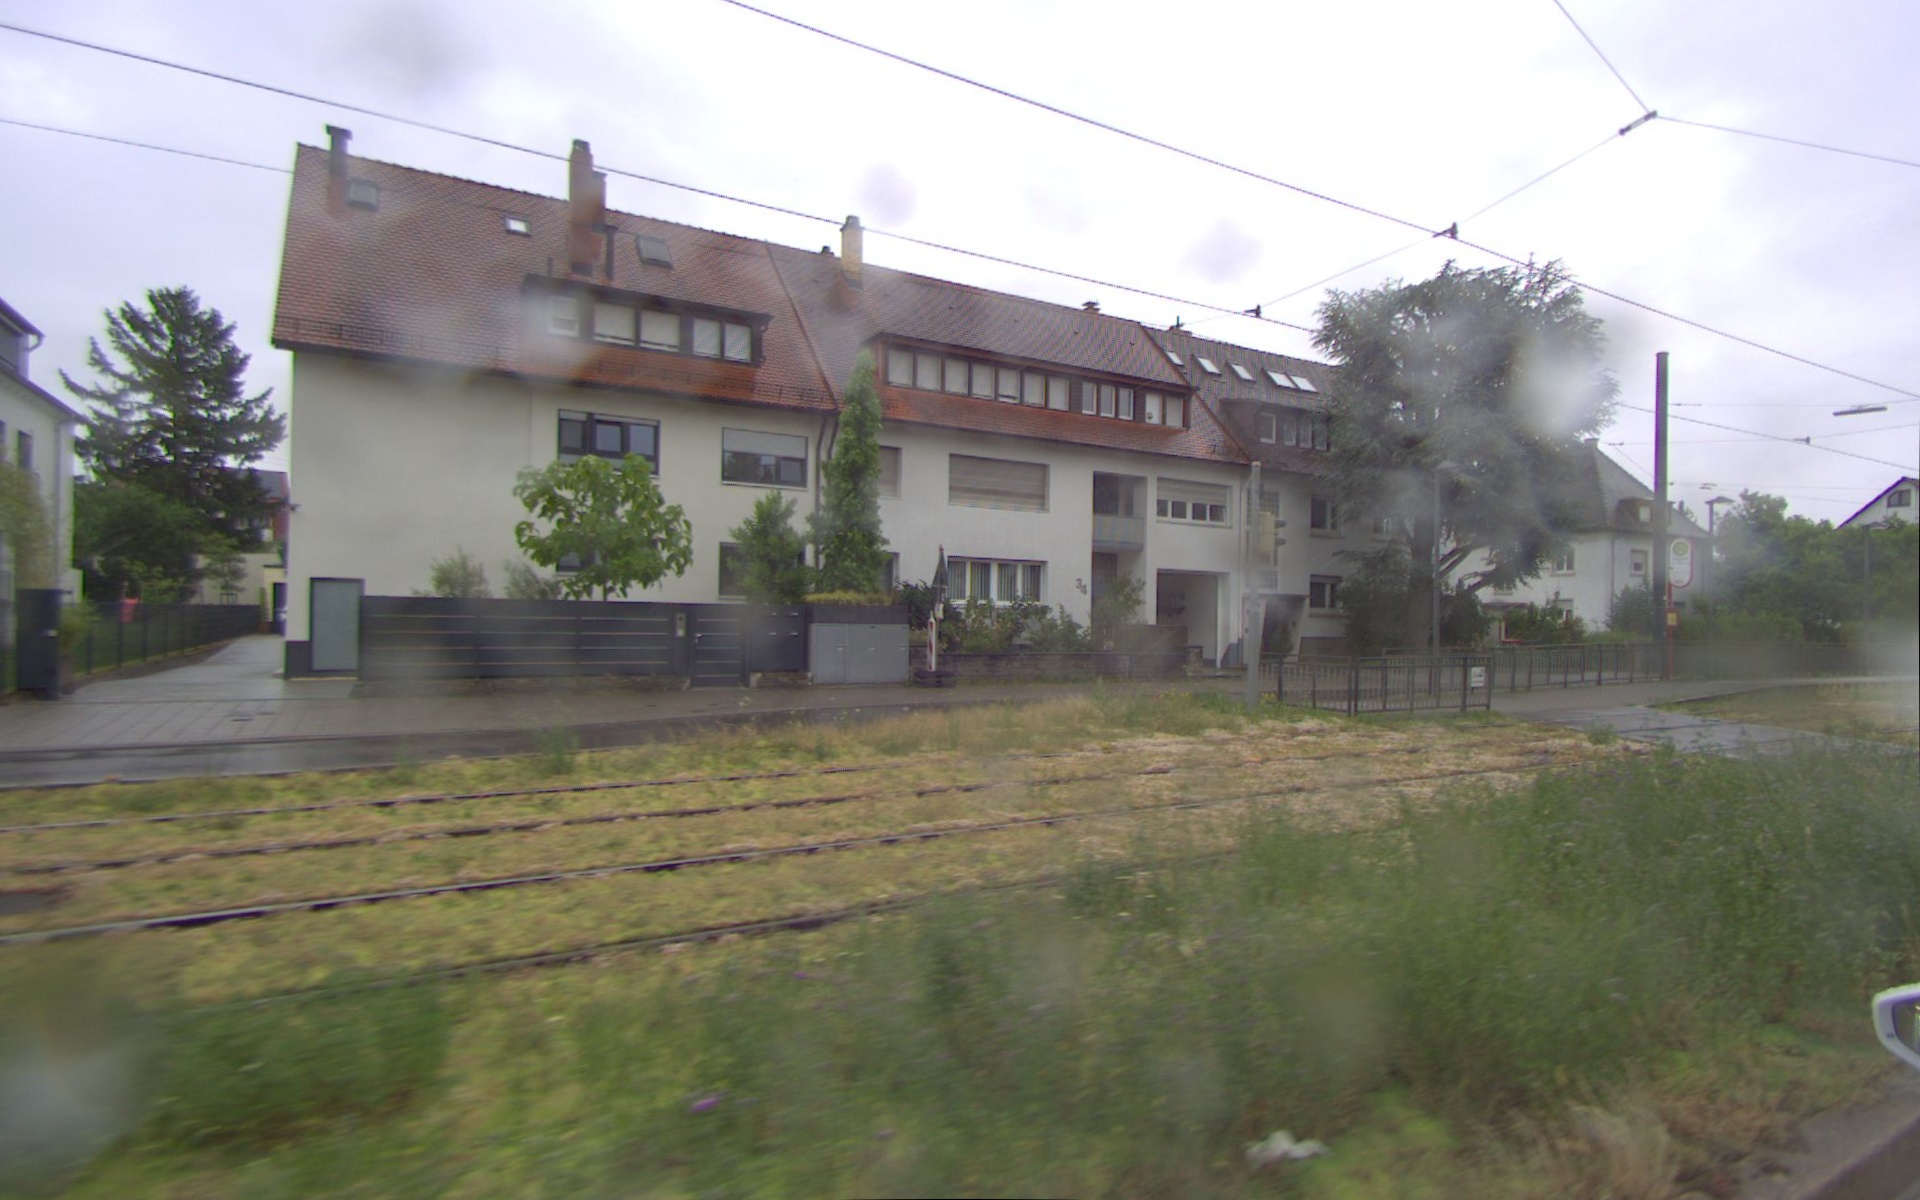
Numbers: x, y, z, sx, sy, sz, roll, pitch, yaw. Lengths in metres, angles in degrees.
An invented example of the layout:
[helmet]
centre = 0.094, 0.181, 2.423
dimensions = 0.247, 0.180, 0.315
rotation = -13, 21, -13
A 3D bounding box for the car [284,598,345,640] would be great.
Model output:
[car]
centre = -27.524, 0.769, 42.947
dimensions = 1.977, 1.639, 3.967
rotation = 2, -1, -30
